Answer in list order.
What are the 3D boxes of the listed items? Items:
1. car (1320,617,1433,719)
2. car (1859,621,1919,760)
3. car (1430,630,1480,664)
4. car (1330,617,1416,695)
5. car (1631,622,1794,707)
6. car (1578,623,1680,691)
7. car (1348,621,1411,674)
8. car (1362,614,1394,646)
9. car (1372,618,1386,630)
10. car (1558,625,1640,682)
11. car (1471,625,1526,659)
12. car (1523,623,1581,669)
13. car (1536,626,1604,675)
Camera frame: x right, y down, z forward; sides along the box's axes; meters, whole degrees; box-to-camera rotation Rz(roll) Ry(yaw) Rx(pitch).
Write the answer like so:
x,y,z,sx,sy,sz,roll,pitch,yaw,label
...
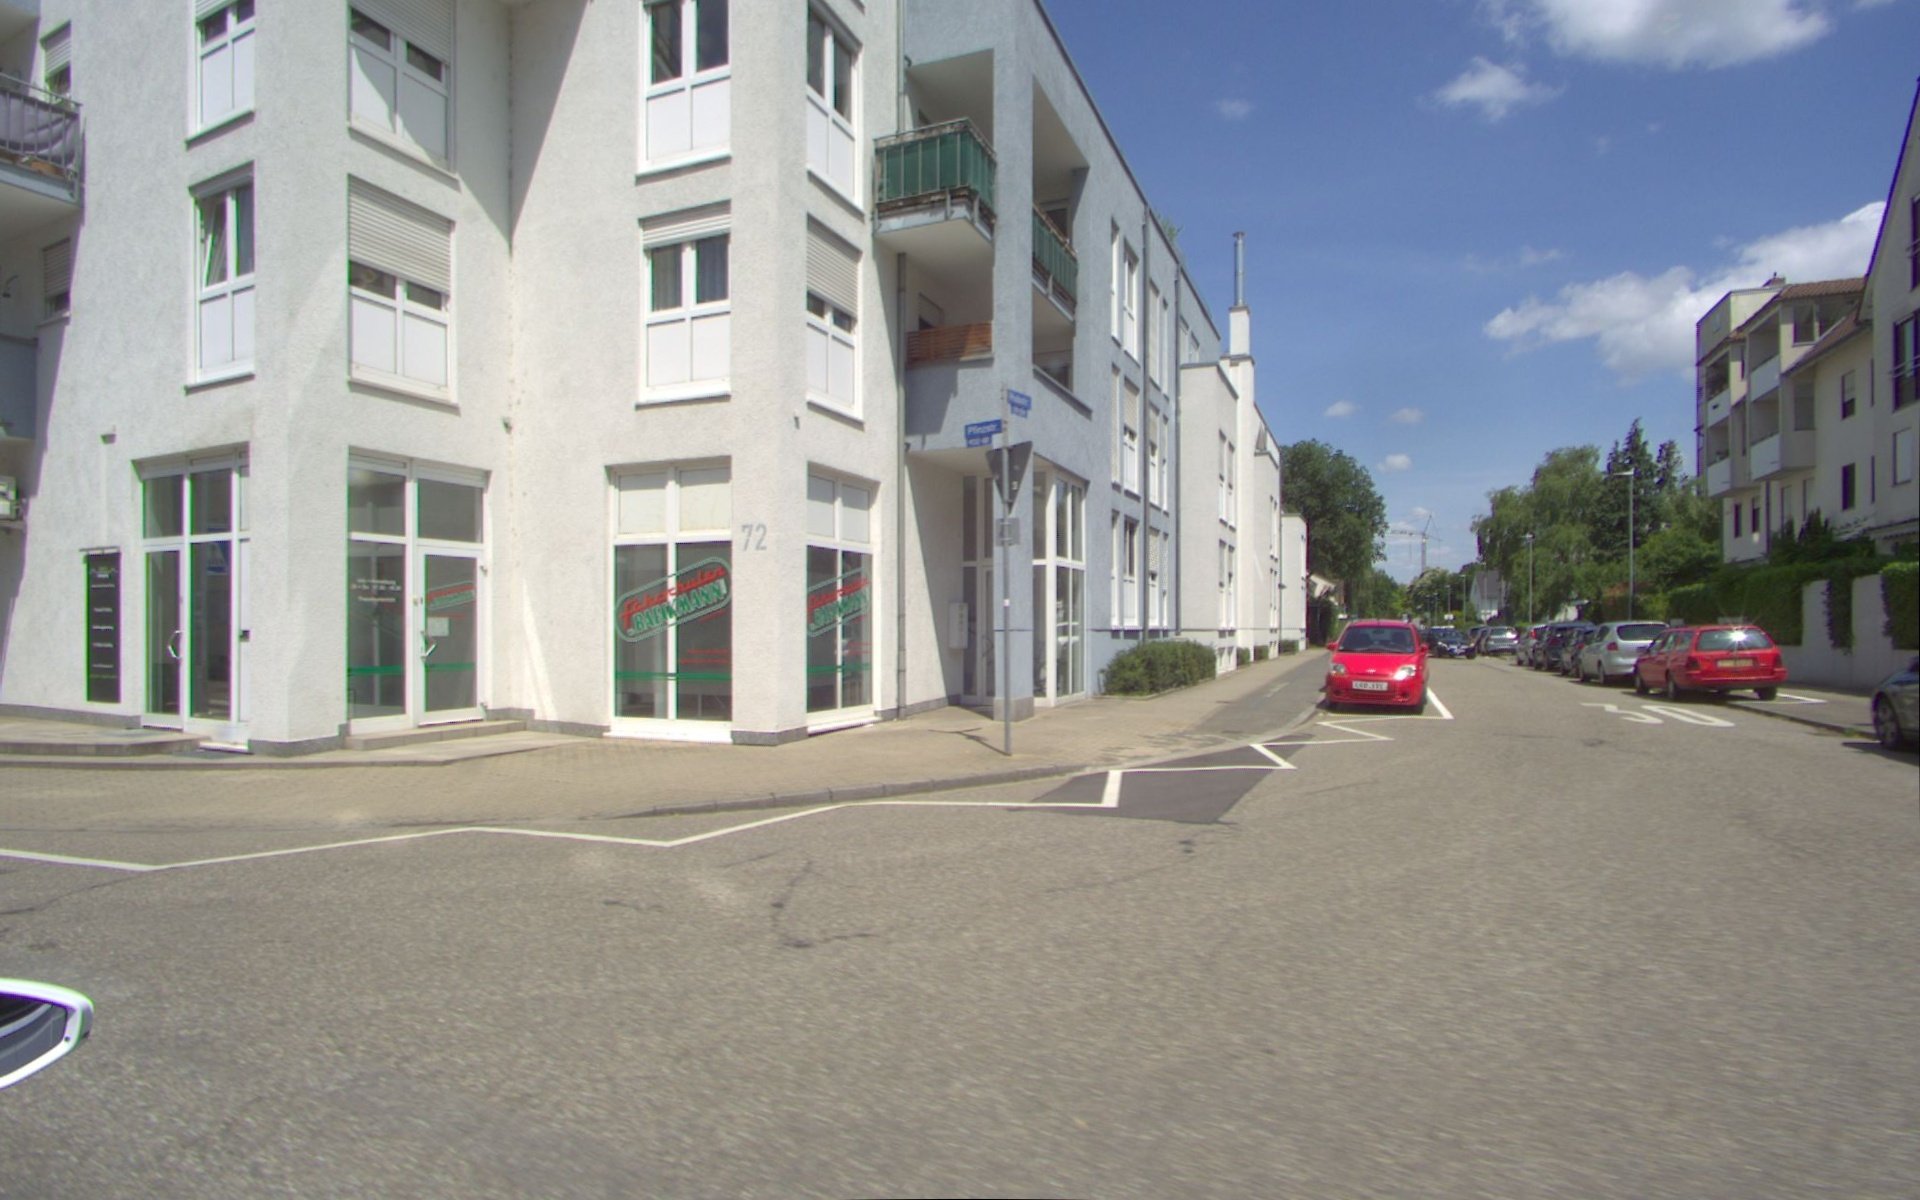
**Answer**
x,y,z,sx,sy,sz,roll,pitch,yaw,label
7.253,1.086,17.287,1.571,1.561,3.506,0,-1,26,car
10.936,0.967,10.013,1.709,1.487,3.988,-1,-1,24,car
24.397,2.343,49.482,1.966,1.593,3.992,0,-3,23,car
8.837,1.137,21.285,1.511,1.485,3.775,0,-1,25,car
14.764,1.204,19.870,1.626,1.485,3.778,0,-1,22,car
16.696,1.371,25.155,1.510,1.577,3.775,0,-1,24,car
12.654,1.389,30.103,1.627,1.485,3.572,0,-1,25,car
29.064,2.116,69.603,1.967,2.038,3.992,0,-3,23,car
66.396,3.843,158.735,1.966,1.817,3.991,0,-1,22,car
18.939,1.533,29.808,1.510,1.577,3.775,0,-1,24,car
28.259,2.243,52.642,1.965,1.697,3.995,0,-3,20,car
23.078,1.782,39.124,1.646,1.697,3.412,0,-2,26,car
20.735,1.672,34.137,1.510,1.577,3.775,0,-1,24,car
